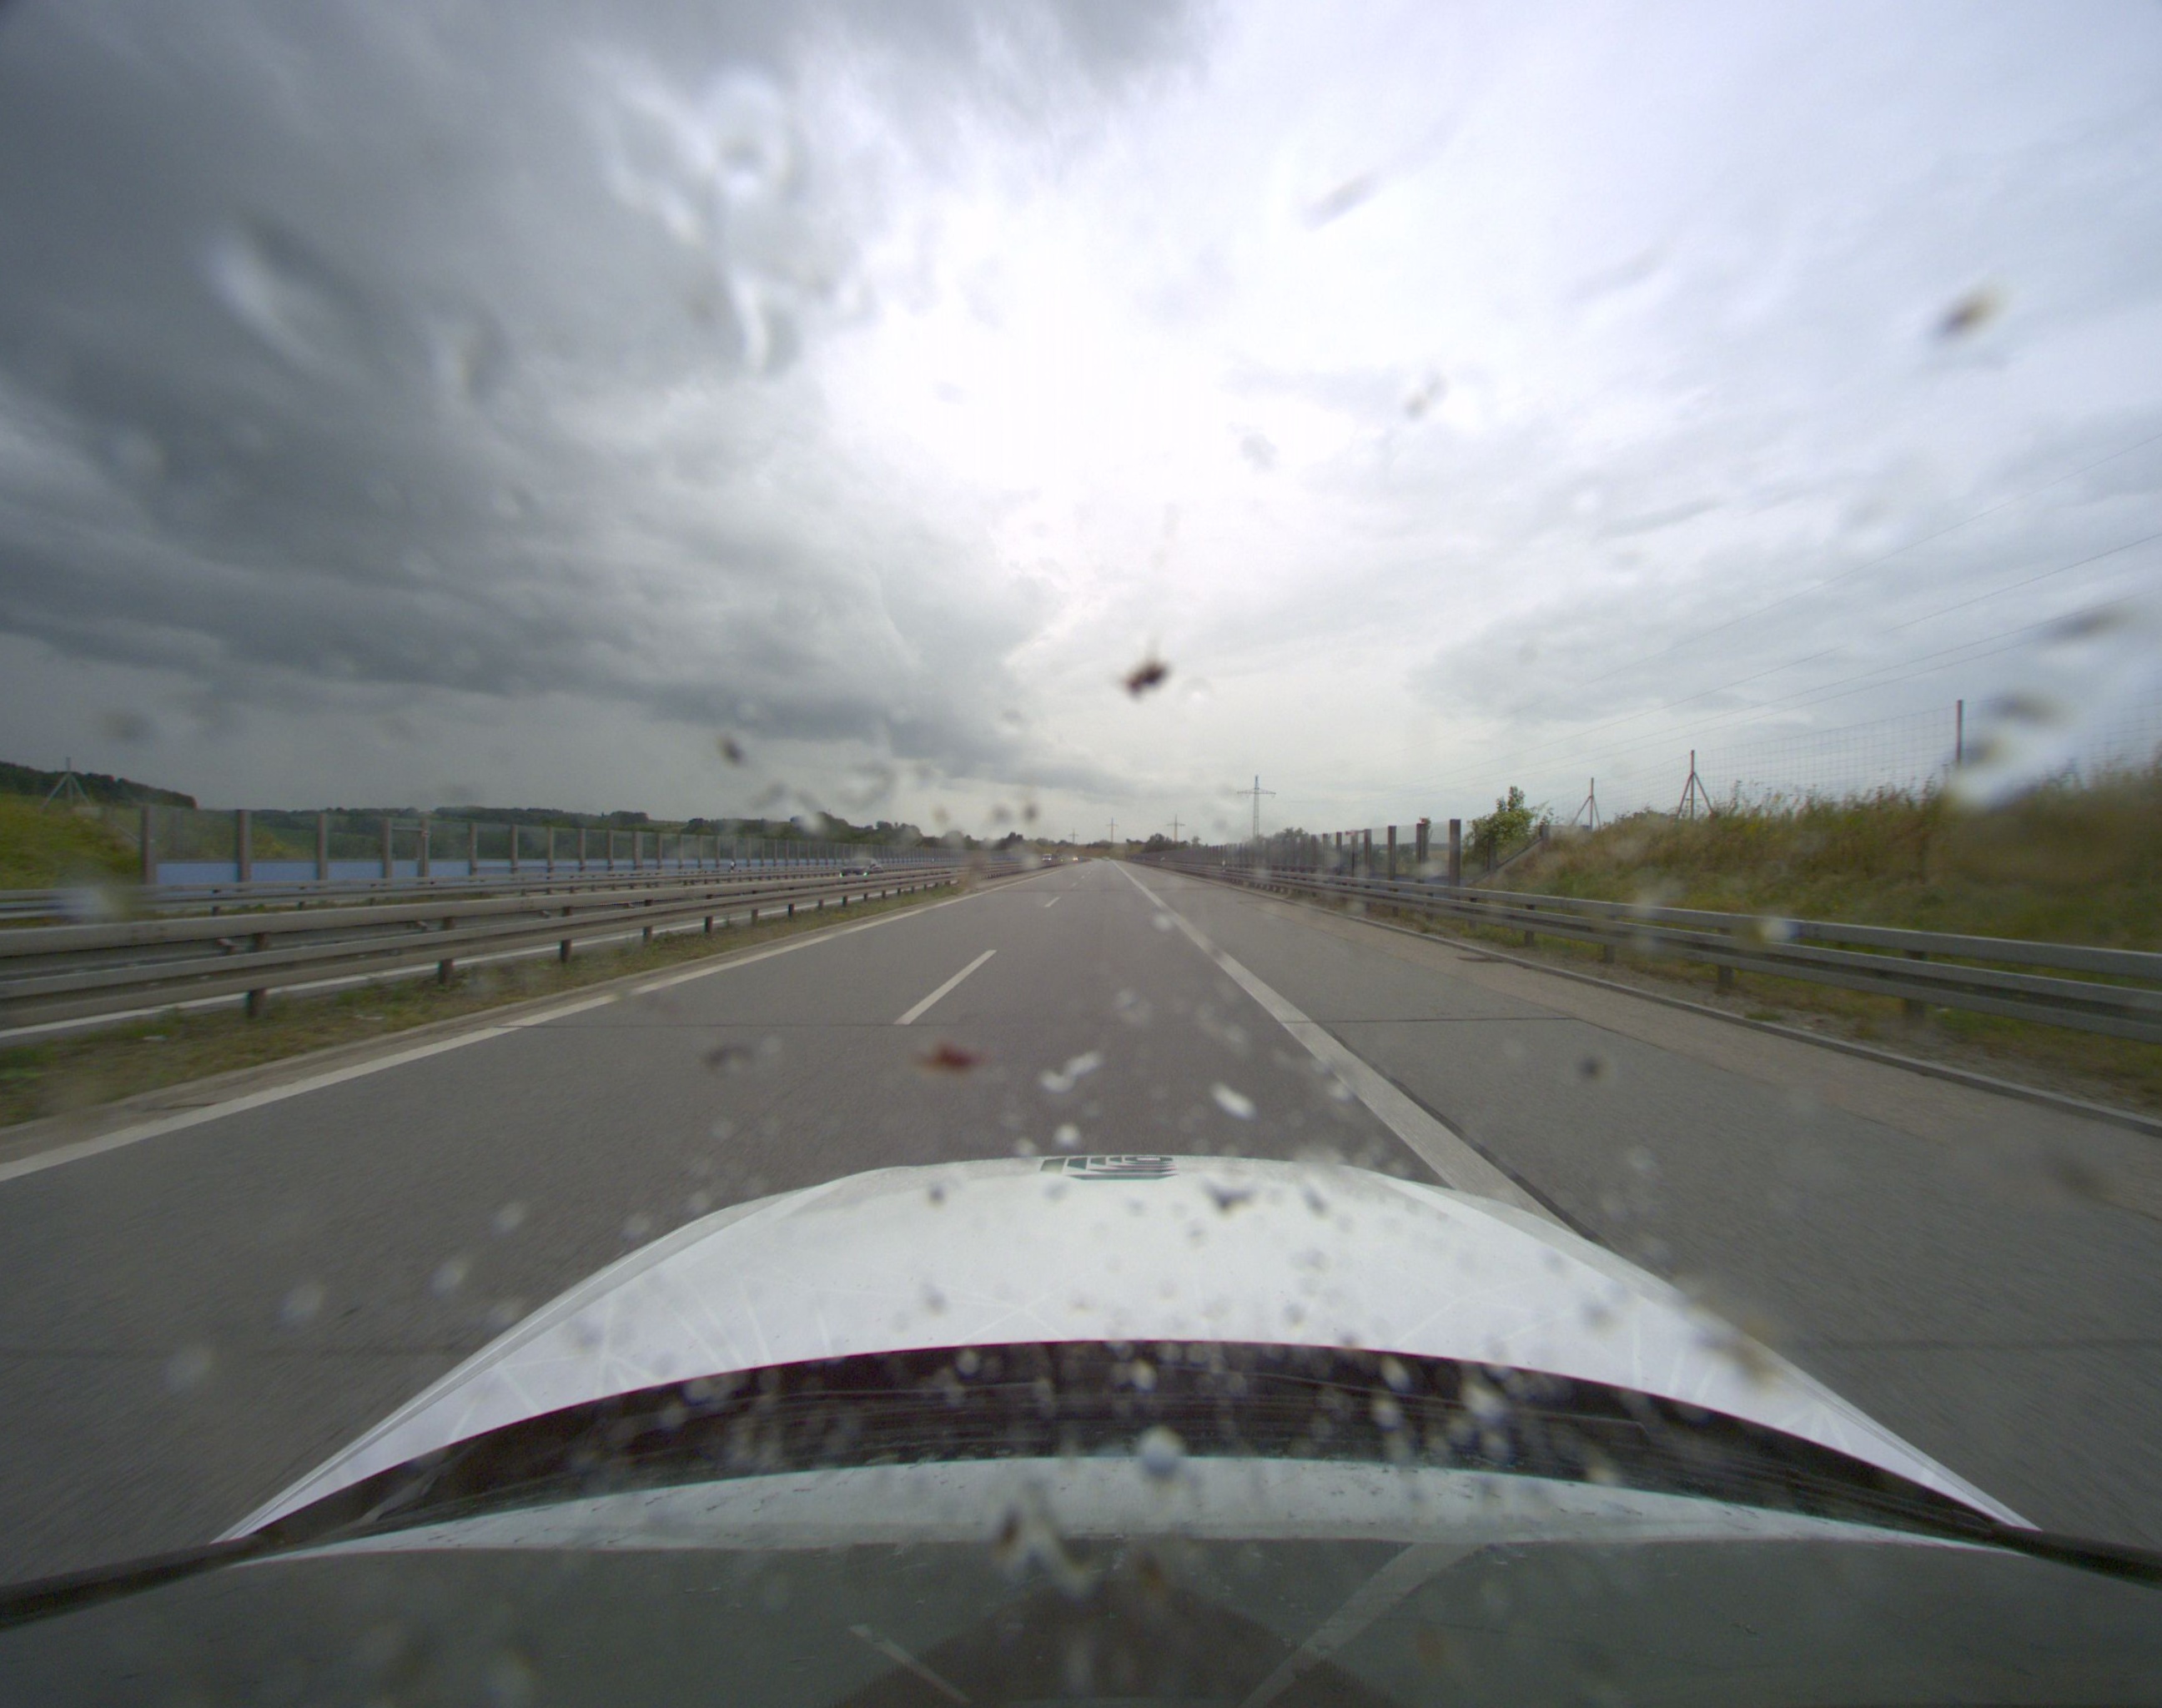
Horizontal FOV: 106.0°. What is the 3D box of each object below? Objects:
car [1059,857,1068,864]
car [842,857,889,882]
[{"bbox_3d":[-4.167,1.543,194.610,1.747,1.491,4.002,0,0,2],"label":"car"},{"bbox_3d":[-12.765,0.899,48.443,1.624,1.409,4.002,0,0,2],"label":"car"}]
